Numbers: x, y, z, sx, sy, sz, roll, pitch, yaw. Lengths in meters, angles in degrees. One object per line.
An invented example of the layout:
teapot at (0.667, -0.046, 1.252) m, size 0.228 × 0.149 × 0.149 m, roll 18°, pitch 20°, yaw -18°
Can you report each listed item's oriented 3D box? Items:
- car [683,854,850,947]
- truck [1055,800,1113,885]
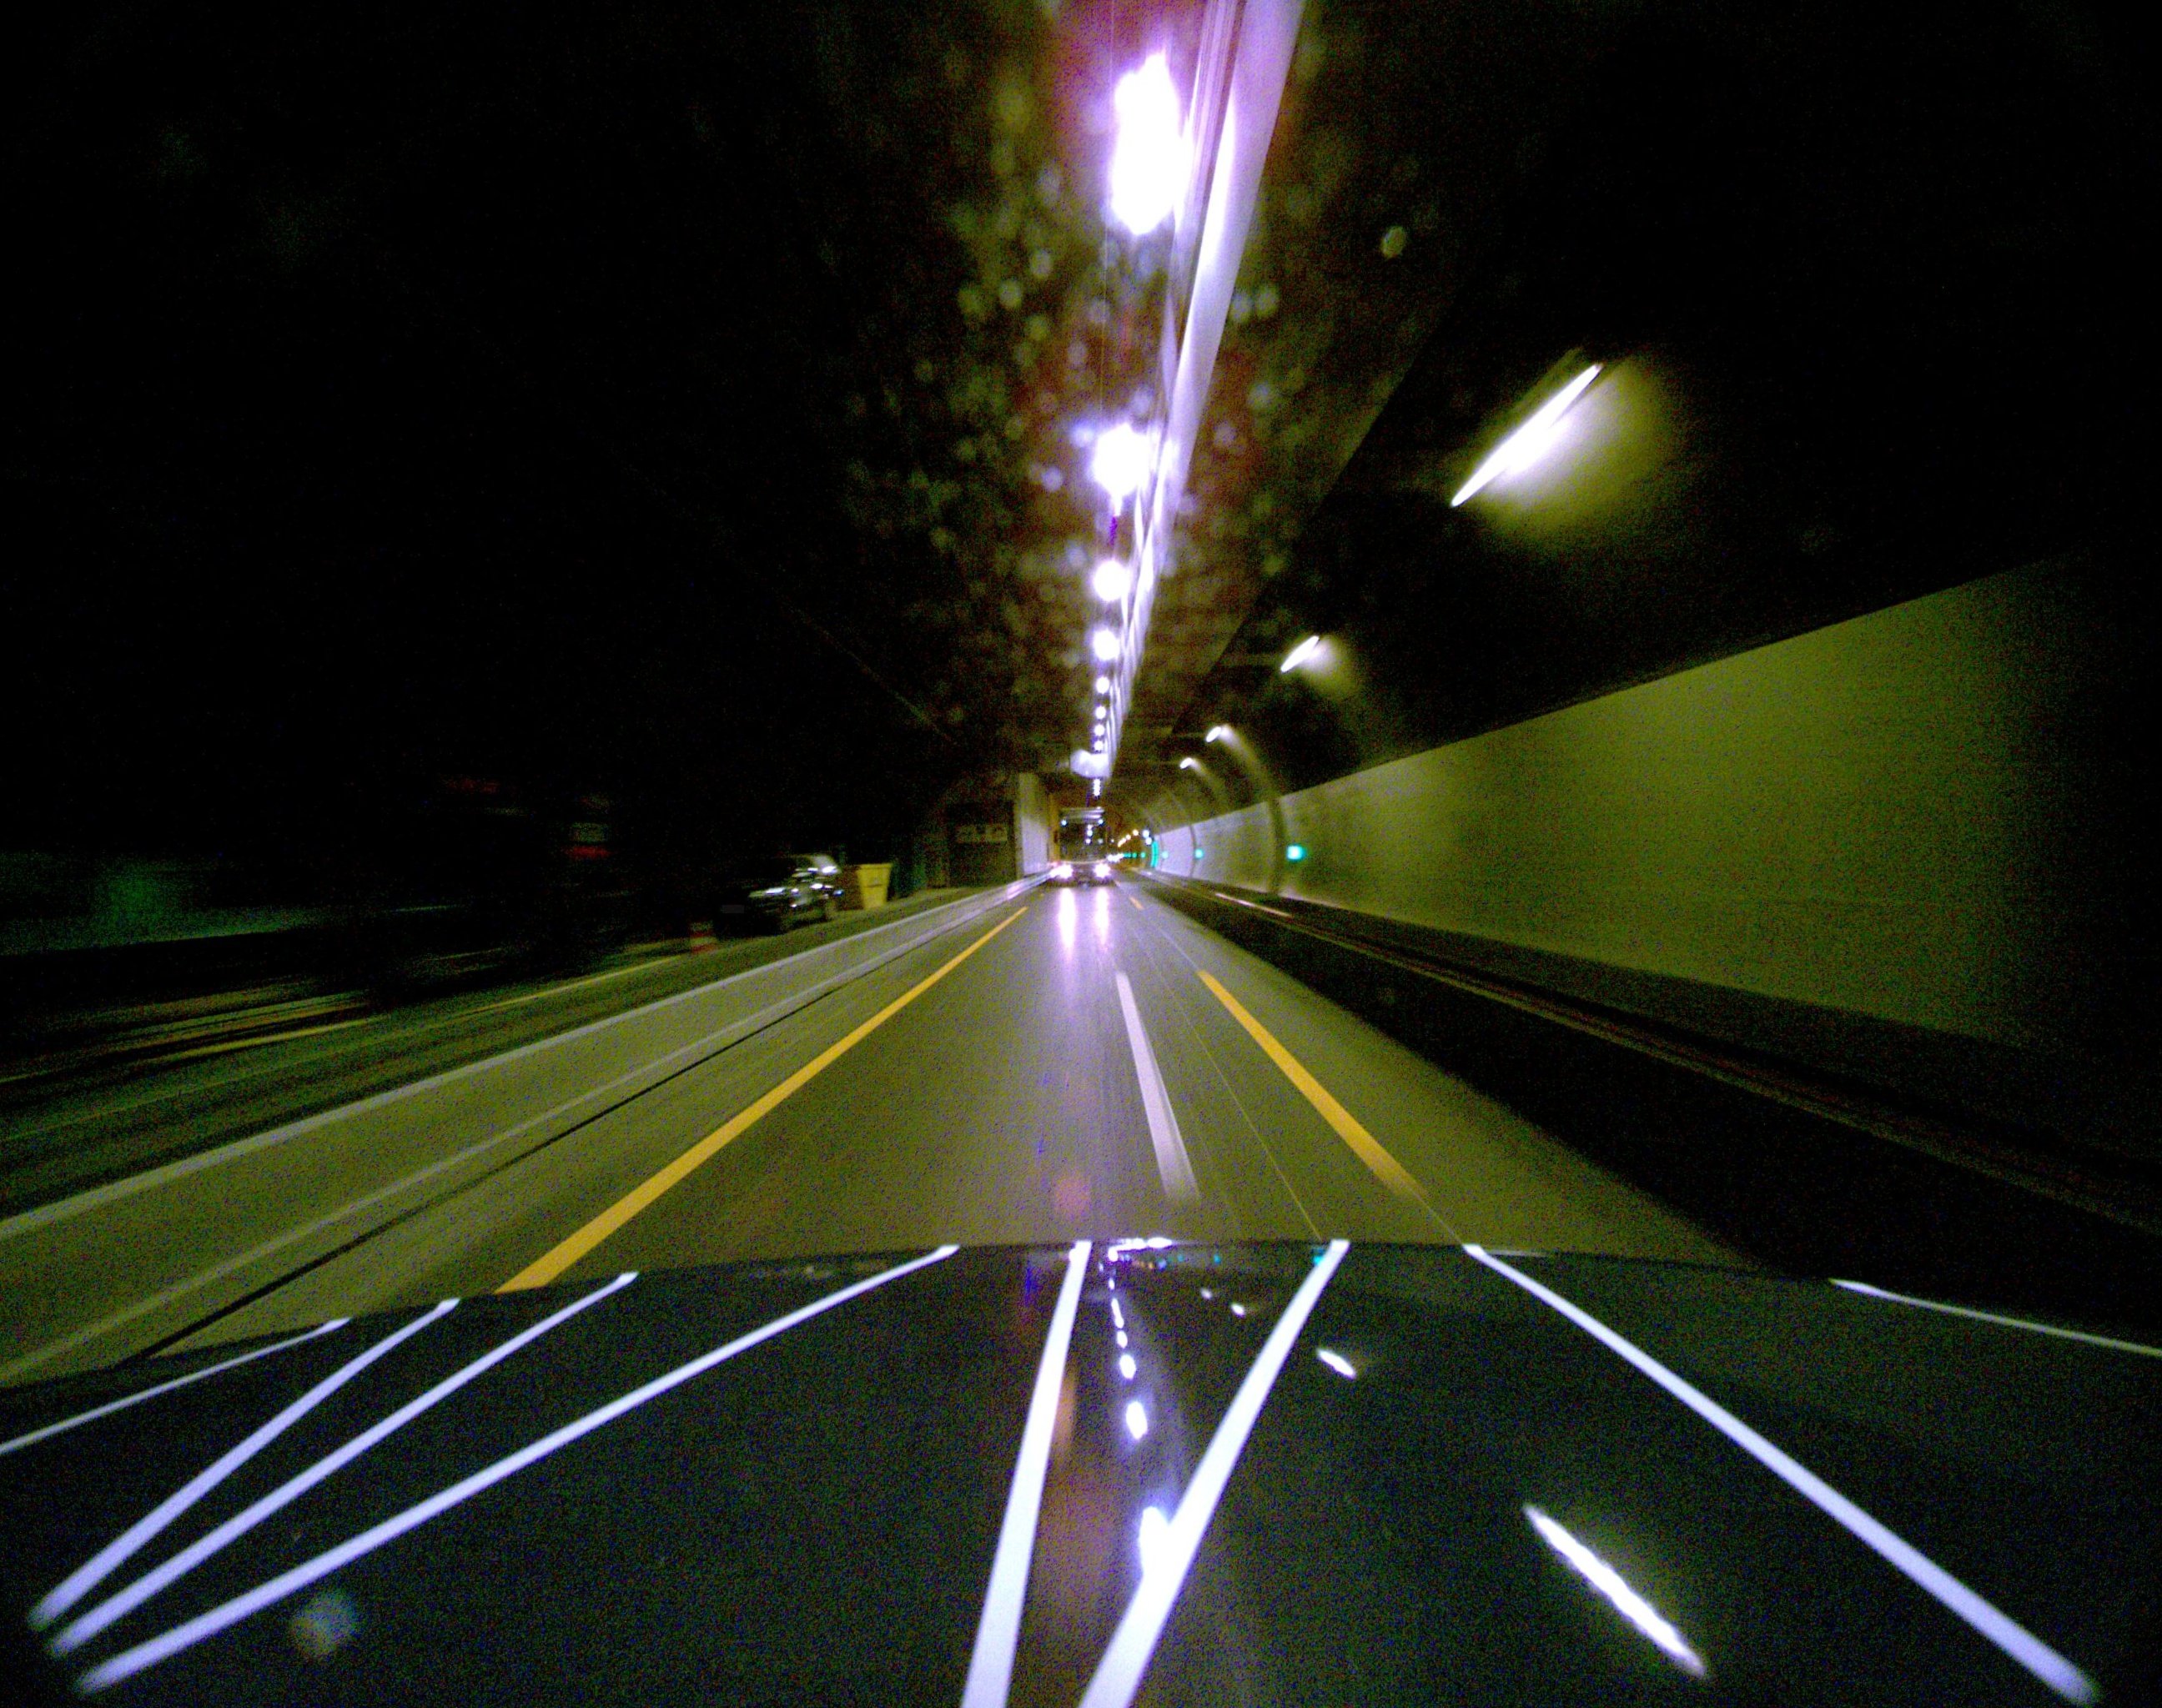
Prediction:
car at (-7.491, 0.993, 18.843) m, size 1.832 × 1.848 × 5.441 m, roll -4°, pitch 0°, yaw -1°
truck at (0.324, -0.608, 42.460) m, size 2.769 × 4.198 × 7.978 m, roll -2°, pitch 1°, yaw 3°
